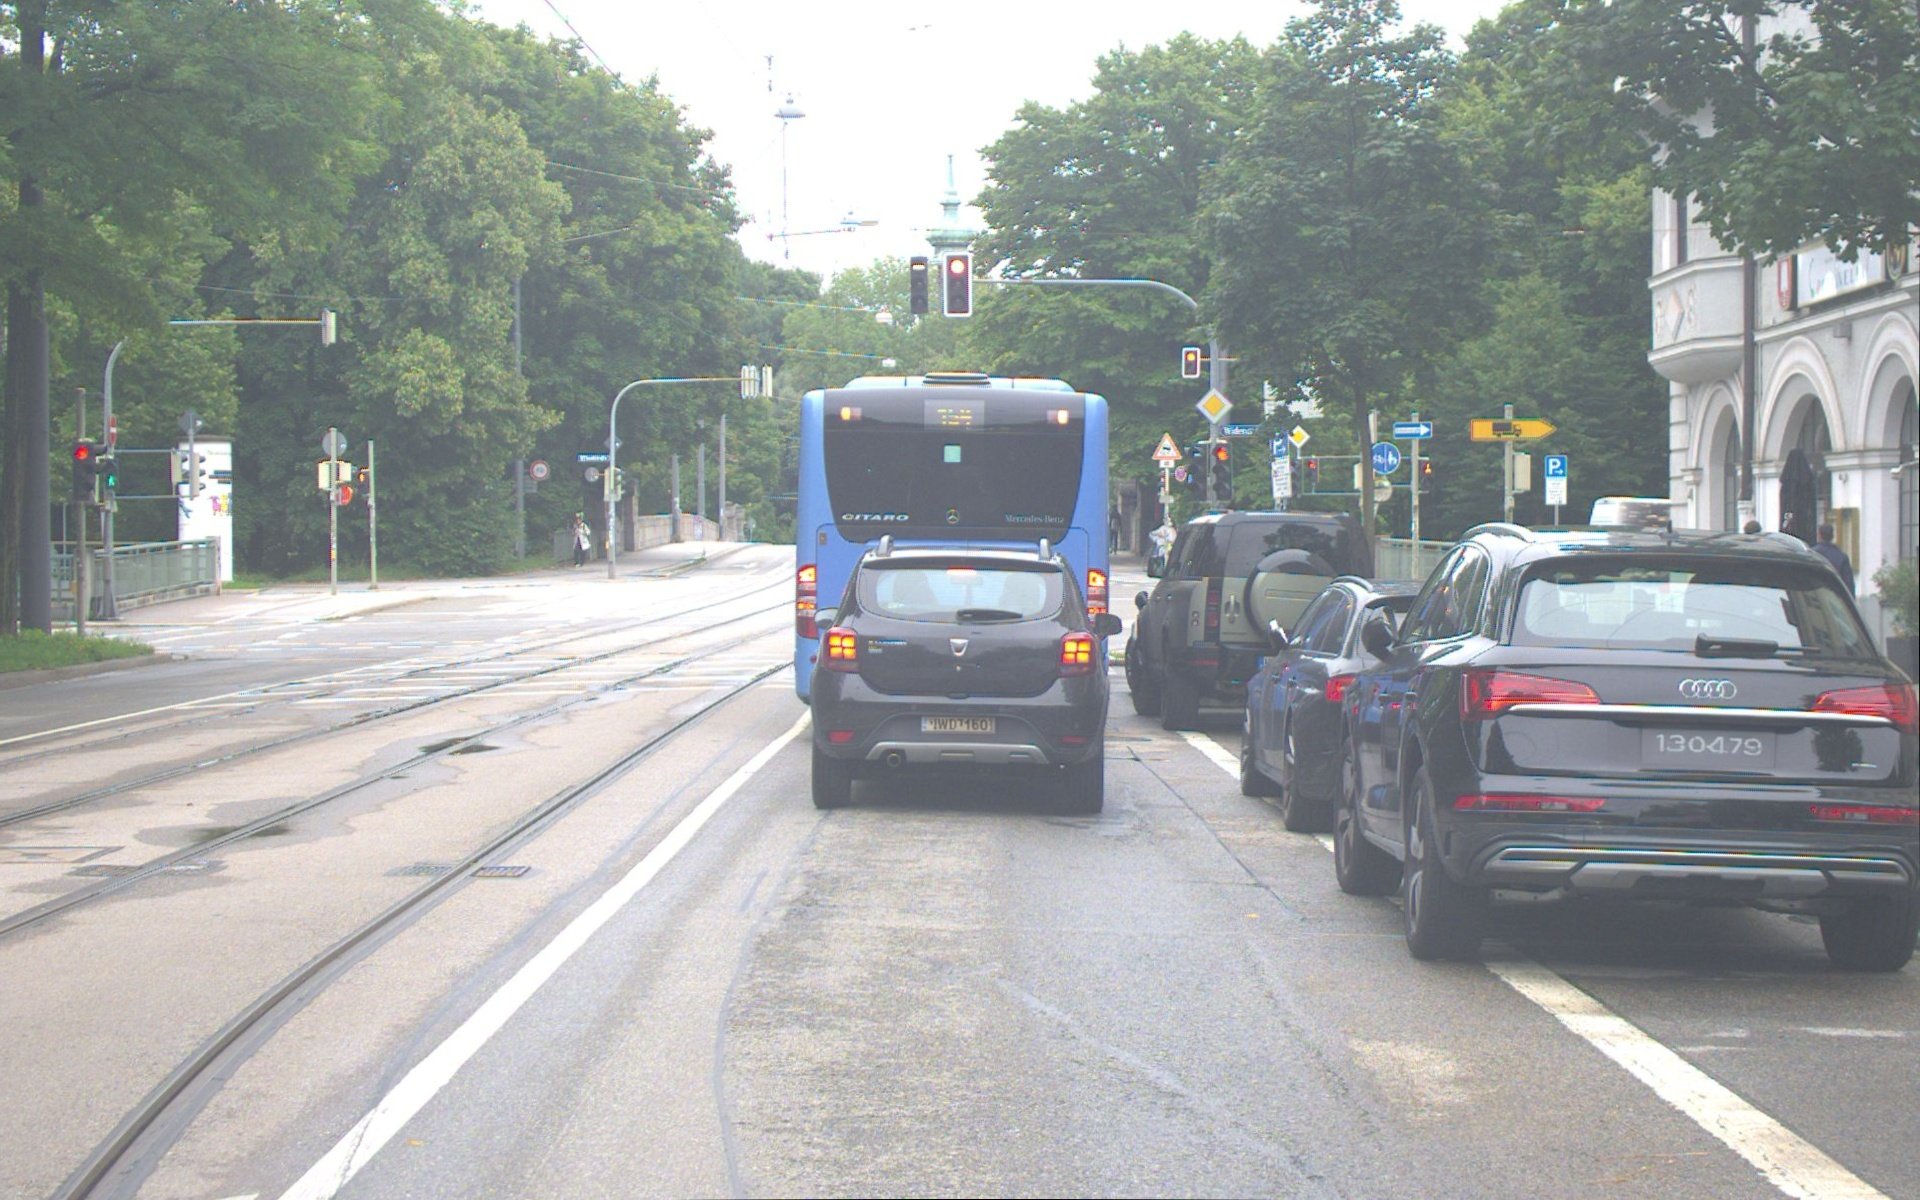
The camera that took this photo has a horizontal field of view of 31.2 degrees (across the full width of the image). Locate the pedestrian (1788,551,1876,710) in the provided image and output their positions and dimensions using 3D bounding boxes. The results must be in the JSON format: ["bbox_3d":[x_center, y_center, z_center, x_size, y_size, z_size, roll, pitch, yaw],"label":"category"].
[{"bbox_3d":[9.689,0.334,38.230,0.705,1.726,0.843,2,0,0],"label":"pedestrian"}]

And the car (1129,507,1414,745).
[{"bbox_3d":[2.691,0.200,30.798,1.914,1.899,4.808,2,0,-2],"label":"car"}]

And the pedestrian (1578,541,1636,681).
[{"bbox_3d":[9.437,0.157,50.138,0.673,2.007,0.716,2,0,3],"label":"pedestrian"}]

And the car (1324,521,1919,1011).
[{"bbox_3d":[2.615,0.563,14.157,1.774,1.652,4.487,2,0,1],"label":"car"}]

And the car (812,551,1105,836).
[{"bbox_3d":[-0.017,0.515,21.089,1.600,1.551,3.525,2,0,0],"label":"car"}]

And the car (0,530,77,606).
[{"bbox_3d":[-24.823,-0.853,88.140,4.021,1.880,1.491,2,0,-6],"label":"car"}]

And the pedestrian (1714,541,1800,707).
[{"bbox_3d":[8.863,0.263,38.264,0.705,1.810,0.870,2,0,0],"label":"pedestrian"}]

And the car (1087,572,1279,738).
[{"bbox_3d":[2.282,0.530,36.104,1.714,1.586,4.327,2,0,0],"label":"car"}]

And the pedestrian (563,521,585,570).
[{"bbox_3d":[-11.889,-1.670,105.970,0.532,1.496,0.588,2,0,5],"label":"pedestrian"}]

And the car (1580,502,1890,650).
[{"bbox_3d":[14.761,-0.450,65.669,5.295,2.604,2.231,2,0,-2],"label":"car"}]

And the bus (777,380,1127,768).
[{"bbox_3d":[-0.156,-0.228,30.721,2.678,2.987,6.961,2,0,-2],"label":"bus"}]

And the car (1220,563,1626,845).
[{"bbox_3d":[2.602,0.534,20.316,1.716,1.421,4.602,2,0,0],"label":"car"}]
